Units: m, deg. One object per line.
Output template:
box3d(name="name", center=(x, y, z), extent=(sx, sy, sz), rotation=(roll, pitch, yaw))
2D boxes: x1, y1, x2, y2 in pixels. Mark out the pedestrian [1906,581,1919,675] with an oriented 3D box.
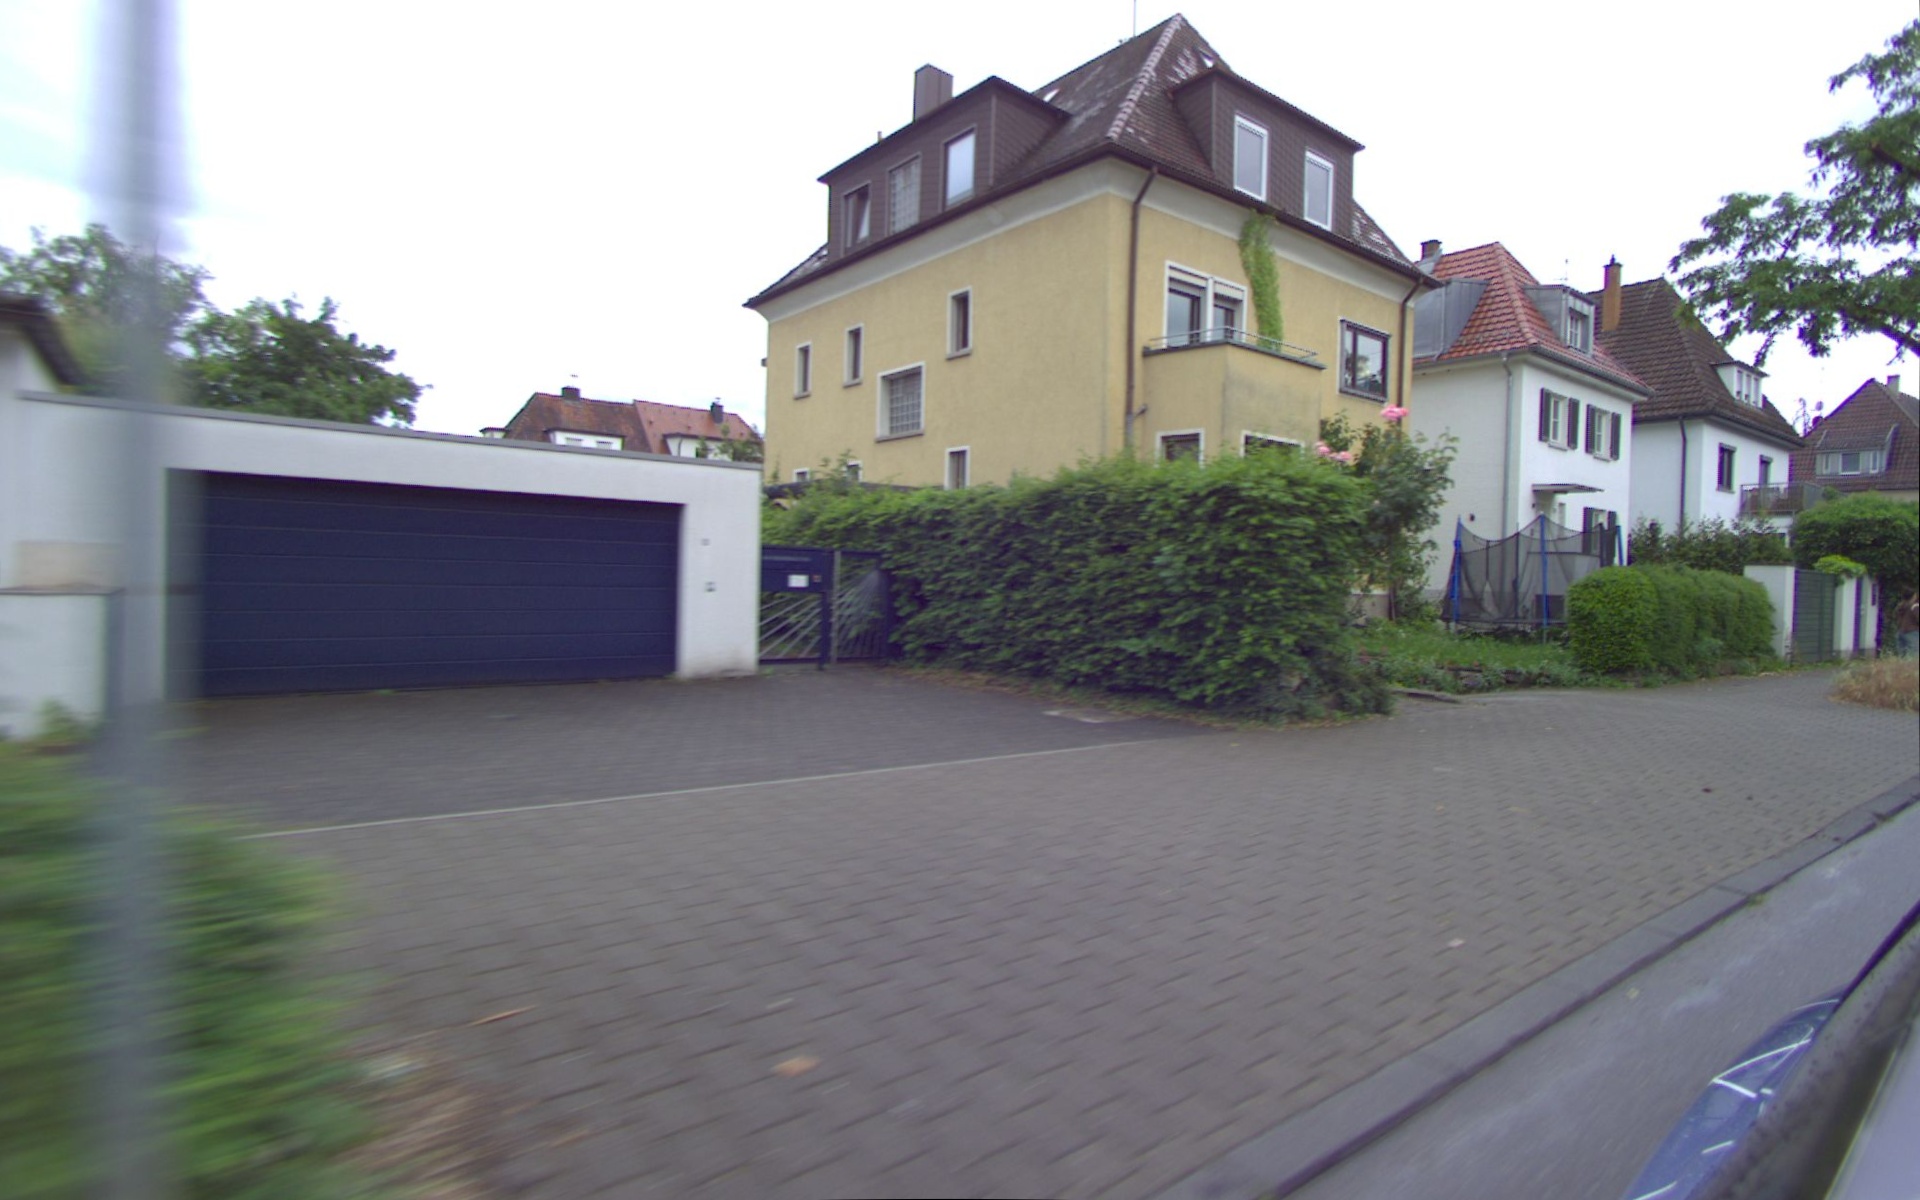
box3d(name="pedestrian", center=(16.072, 0.458, 16.795), extent=(0.431, 1.553, 0.482), rotation=(0, 0, -39))
